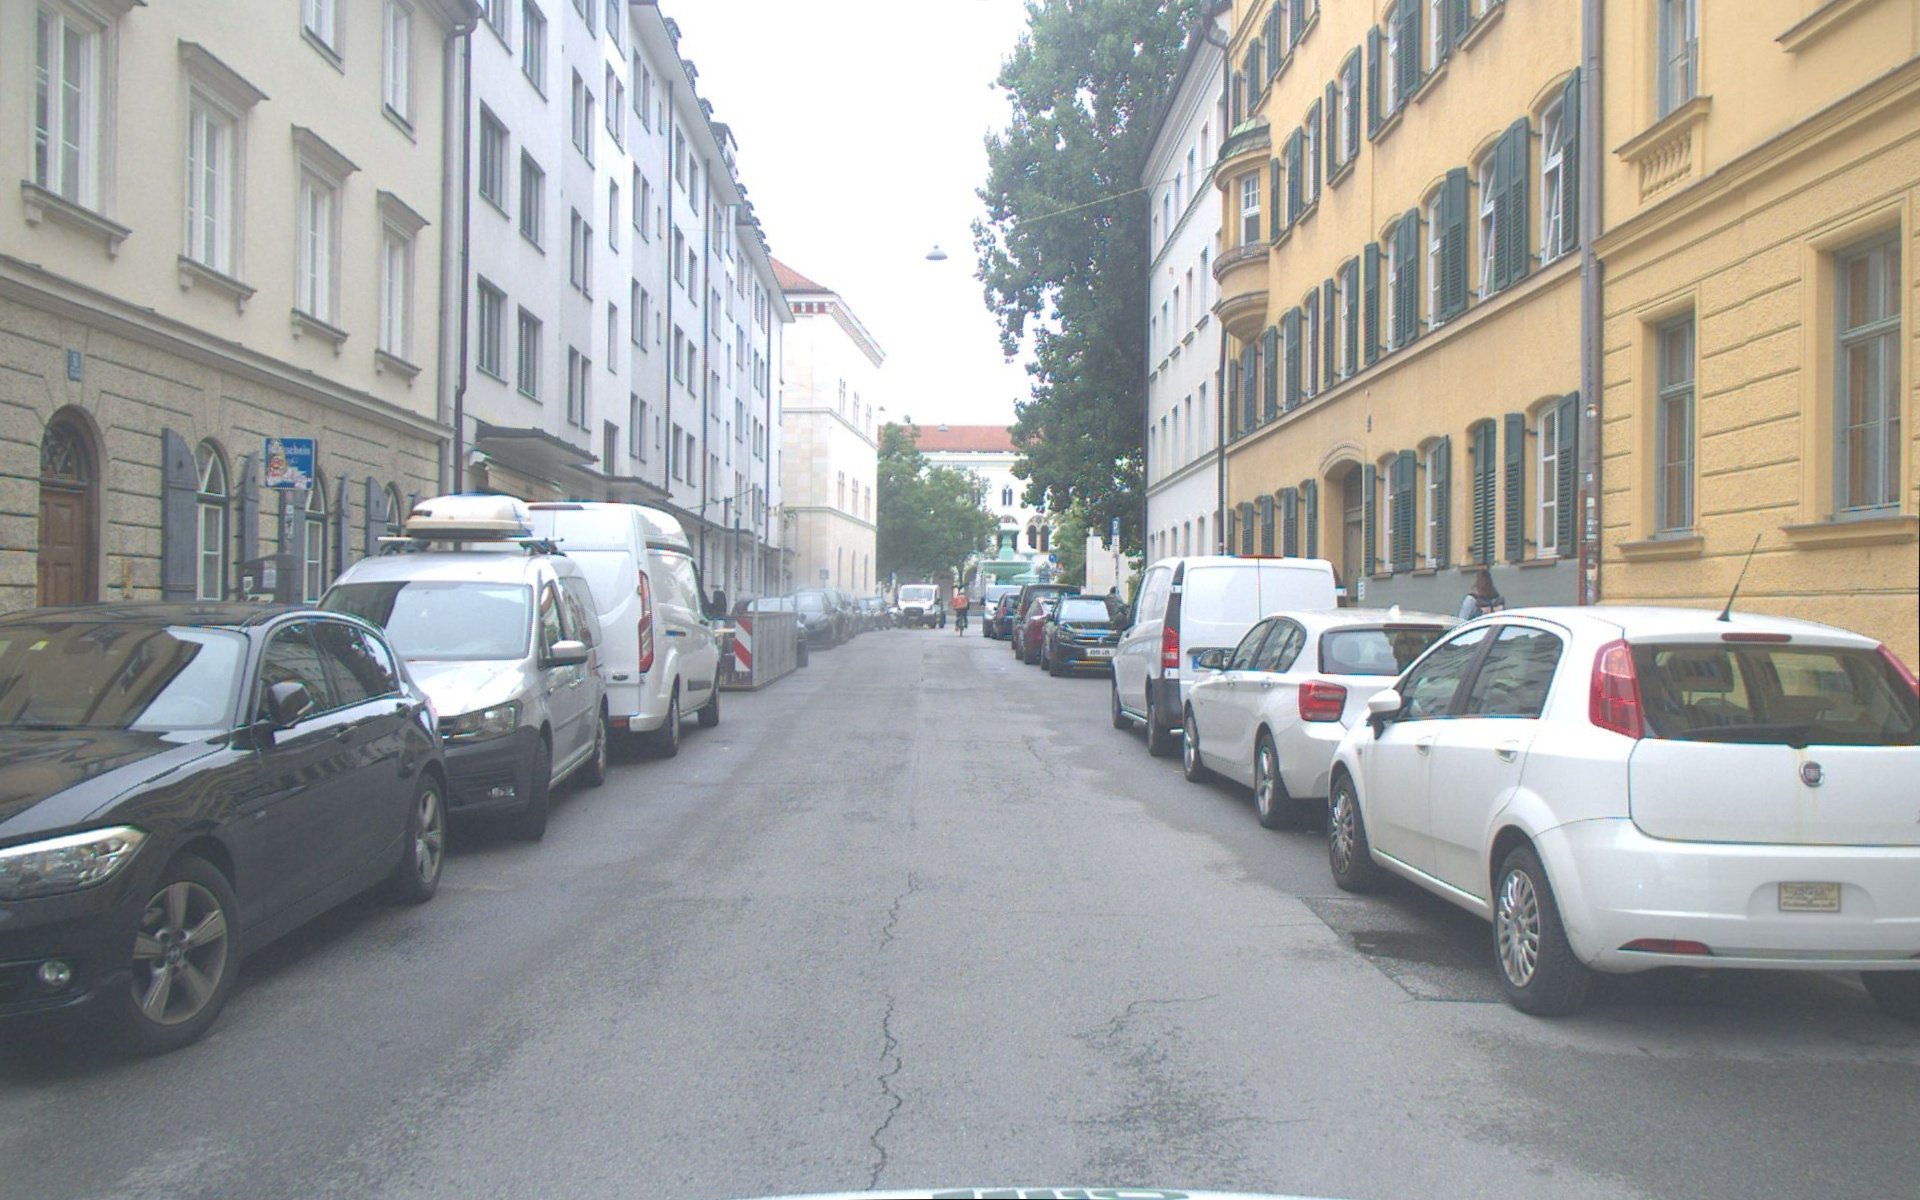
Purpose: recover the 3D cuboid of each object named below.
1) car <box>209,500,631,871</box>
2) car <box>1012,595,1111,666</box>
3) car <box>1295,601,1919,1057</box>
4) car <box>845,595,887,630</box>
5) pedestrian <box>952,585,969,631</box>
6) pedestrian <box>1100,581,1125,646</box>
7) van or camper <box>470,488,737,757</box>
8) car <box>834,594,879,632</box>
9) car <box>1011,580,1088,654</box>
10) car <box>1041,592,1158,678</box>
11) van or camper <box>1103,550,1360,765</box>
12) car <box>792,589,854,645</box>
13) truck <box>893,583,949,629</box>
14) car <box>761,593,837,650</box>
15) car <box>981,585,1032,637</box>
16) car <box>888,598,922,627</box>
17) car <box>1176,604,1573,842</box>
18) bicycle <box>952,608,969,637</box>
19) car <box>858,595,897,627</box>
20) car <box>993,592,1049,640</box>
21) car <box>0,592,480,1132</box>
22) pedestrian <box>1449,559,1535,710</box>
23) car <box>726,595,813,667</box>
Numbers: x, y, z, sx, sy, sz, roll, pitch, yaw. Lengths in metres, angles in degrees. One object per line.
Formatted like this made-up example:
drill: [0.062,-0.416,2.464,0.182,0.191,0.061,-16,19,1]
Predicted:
car: [-3.433,0.480,11.445,1.720,2.030,4.621,1,0,-5]
car: [2.220,0.656,37.301,1.775,1.449,4.244,2,0,-2]
car: [2.858,0.755,7.472,1.674,1.480,4.094,1,0,-3]
car: [-4.448,0.586,78.729,1.671,1.637,3.863,-1,0,1]
pedestrian: [0.024,0.309,63.706,0.629,1.744,0.842,0,-1,0]
pedestrian: [4.832,0.434,52.427,0.656,2.015,0.708,-3,-1,0]
van or camper: [-3.460,0.200,17.053,1.719,2.321,5.271,1,0,-2]
car: [-4.604,0.578,73.832,1.671,1.637,3.863,-1,0,1]
car: [2.341,0.447,44.305,1.775,1.829,4.246,2,0,0]
car: [2.612,0.629,31.787,1.775,1.490,4.245,2,0,-1]
van or camper: [2.659,0.514,17.363,1.796,1.904,5.078,1,0,-1]
car: [-4.171,0.518,50.861,1.672,1.637,3.861,-1,0,-2]
truck: [-1.977,0.324,85.667,2.076,2.287,6.189,0,-1,7]
car: [-4.339,0.572,45.117,1.781,1.470,3.817,-1,0,-2]
car: [1.772,0.426,64.241,1.814,1.953,4.768,0,0,0]
car: [-3.065,0.684,93.393,1.671,1.609,3.864,-1,0,2]
car: [2.803,0.759,12.161,1.674,1.417,4.204,1,0,-3]
bicycle: [0.027,0.864,63.685,0.661,1.114,1.760,0,-1,0]
car: [-4.190,0.562,84.793,1.671,1.609,3.864,-1,0,2]
car: [2.117,0.550,58.214,1.775,1.642,4.155,0,0,0]
car: [-3.265,0.693,6.431,1.719,1.433,4.101,1,0,-2]
pedestrian: [5.839,0.376,18.177,0.647,1.599,0.642,-2,-1,-1]
car: [-4.132,0.626,35.437,1.729,1.435,4.148,-1,0,-8]
